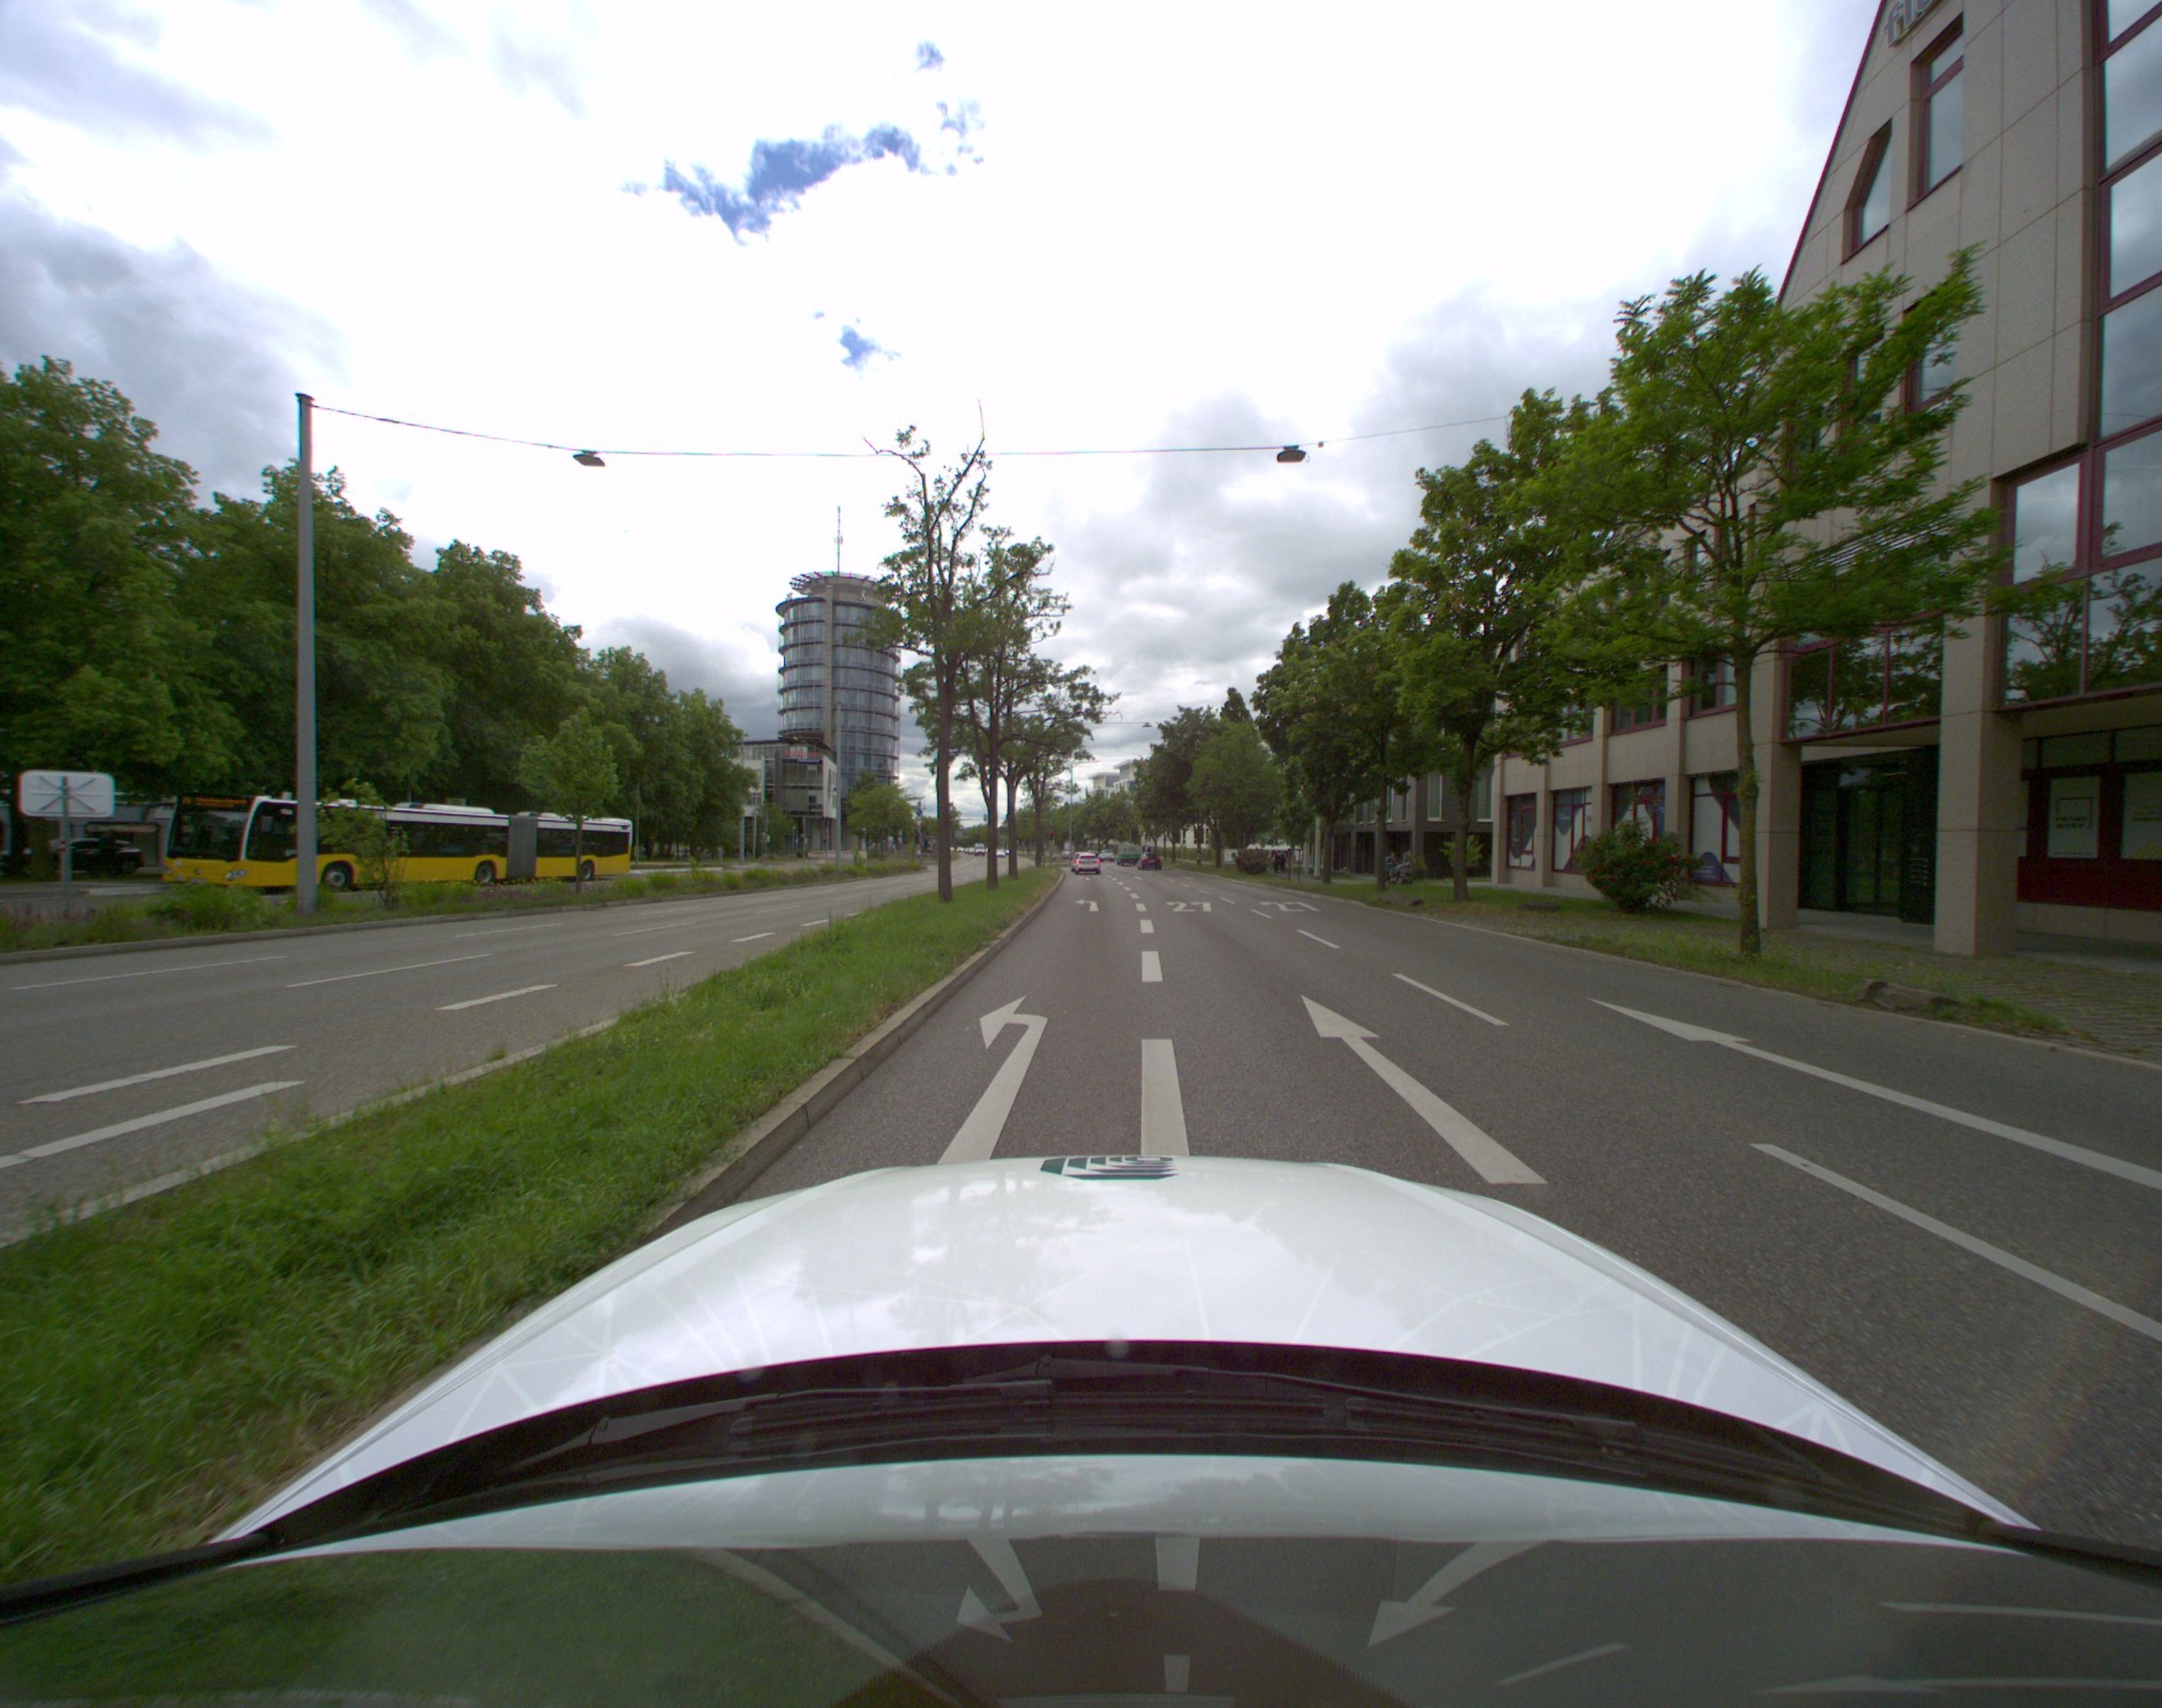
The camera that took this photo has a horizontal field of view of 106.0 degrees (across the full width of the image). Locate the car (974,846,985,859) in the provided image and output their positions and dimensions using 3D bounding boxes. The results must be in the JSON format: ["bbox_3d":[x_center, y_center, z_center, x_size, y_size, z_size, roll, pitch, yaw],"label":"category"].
[{"bbox_3d":[-21.479,-0.251,172.270,1.989,2.634,5.867,2,0,-4],"label":"car"}]

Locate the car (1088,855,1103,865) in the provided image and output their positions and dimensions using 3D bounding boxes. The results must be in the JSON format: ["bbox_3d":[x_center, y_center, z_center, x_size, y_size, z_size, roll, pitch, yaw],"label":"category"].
[{"bbox_3d":[2.152,0.904,122.508,1.989,1.491,3.995,1,0,-3],"label":"car"}]

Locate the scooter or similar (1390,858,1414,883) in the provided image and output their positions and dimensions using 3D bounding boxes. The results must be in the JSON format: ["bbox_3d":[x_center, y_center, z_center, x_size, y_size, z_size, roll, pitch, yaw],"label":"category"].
[{"bbox_3d":[13.292,0.689,33.715,0.582,0.994,0.845,-1,-1,-4],"label":"scooter or similar"}]

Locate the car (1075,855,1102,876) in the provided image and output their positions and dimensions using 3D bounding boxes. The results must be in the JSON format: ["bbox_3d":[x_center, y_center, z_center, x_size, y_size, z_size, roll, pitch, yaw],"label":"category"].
[{"bbox_3d":[0.601,0.827,59.363,1.856,1.449,4.001,0,-1,1],"label":"car"}]

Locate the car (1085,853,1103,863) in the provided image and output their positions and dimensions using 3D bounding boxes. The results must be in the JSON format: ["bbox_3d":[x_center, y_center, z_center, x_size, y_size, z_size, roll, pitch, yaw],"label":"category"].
[{"bbox_3d":[1.882,0.585,119.332,1.992,1.508,3.990,0,0,-8],"label":"car"}]

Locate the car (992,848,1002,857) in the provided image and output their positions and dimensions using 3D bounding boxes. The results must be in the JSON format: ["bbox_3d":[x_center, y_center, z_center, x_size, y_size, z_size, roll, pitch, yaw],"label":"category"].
[{"bbox_3d":[-18.395,-0.391,177.706,1.931,1.918,4.966,0,-1,-4],"label":"car"}]

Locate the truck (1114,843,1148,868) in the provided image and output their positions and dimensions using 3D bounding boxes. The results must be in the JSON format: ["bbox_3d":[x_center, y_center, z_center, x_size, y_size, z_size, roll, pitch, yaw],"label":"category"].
[{"bbox_3d":[5.209,0.171,86.080,2.854,2.519,6.278,0,-1,-4],"label":"truck"}]

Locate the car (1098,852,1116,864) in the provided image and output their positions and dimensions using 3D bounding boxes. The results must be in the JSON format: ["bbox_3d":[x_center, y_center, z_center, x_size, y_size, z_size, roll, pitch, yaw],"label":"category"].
[{"bbox_3d":[3.327,0.526,106.480,1.989,1.508,3.995,0,0,-3],"label":"car"}]

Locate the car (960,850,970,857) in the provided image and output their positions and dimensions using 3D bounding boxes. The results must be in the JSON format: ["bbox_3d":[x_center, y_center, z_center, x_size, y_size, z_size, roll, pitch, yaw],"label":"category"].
[{"bbox_3d":[-29.906,-0.106,210.034,1.989,1.853,4.318,2,0,-4],"label":"car"}]

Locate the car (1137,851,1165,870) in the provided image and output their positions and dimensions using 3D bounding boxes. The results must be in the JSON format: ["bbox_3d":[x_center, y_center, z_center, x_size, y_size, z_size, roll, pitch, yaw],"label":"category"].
[{"bbox_3d":[5.986,0.545,70.056,1.988,1.596,3.997,0,0,-2],"label":"car"}]

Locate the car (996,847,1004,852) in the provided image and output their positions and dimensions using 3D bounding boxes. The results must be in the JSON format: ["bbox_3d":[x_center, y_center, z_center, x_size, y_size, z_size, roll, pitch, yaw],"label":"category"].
[{"bbox_3d":[-23.927,-1.313,241.947,1.988,1.618,3.998,2,0,-1],"label":"car"}]

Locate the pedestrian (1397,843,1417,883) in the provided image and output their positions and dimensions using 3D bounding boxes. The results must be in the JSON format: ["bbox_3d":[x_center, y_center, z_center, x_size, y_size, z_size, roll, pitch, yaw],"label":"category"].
[{"bbox_3d":[13.920,0.383,34.820,0.565,1.700,0.830,0,-1,4],"label":"pedestrian"}]

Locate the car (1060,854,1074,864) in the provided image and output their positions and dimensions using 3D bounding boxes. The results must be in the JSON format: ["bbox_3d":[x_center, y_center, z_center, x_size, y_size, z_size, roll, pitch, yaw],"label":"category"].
[{"bbox_3d":[-2.228,0.733,126.769,1.989,1.491,3.995,1,0,-3],"label":"car"}]

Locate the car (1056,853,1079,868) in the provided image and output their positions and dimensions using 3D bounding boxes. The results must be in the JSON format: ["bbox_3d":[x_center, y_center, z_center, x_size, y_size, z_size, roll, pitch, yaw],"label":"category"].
[{"bbox_3d":[-1.427,0.659,85.875,1.984,1.508,4.005,0,-1,5],"label":"car"}]

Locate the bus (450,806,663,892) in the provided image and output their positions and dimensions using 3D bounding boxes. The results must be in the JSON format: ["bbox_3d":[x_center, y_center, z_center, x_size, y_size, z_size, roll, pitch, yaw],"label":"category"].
[{"bbox_3d":[-24.145,-0.191,38.491,3.018,3.455,9.921,2,0,4],"label":"bus"}]

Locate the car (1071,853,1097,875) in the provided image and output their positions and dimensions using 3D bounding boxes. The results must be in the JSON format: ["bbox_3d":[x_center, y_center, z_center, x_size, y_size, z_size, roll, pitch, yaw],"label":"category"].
[{"bbox_3d":[0.243,0.822,66.482,1.987,1.672,3.999,0,-1,0],"label":"car"}]

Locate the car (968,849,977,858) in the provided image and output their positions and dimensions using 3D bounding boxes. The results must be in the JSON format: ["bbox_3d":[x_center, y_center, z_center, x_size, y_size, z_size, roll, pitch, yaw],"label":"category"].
[{"bbox_3d":[-25.910,-0.056,194.560,1.989,2.011,4.318,2,0,-4],"label":"car"}]

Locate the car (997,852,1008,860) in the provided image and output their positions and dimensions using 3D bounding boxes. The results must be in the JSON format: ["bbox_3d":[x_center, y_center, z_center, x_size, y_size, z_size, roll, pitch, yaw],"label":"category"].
[{"bbox_3d":[-14.608,0.327,151.887,1.749,1.444,4.129,2,0,-4],"label":"car"}]

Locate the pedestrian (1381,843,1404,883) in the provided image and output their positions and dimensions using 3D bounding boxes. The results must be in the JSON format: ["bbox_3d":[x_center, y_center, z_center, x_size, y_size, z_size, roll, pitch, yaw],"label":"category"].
[{"bbox_3d":[13.234,0.378,34.634,0.554,1.653,0.960,-1,-1,-4],"label":"pedestrian"}]

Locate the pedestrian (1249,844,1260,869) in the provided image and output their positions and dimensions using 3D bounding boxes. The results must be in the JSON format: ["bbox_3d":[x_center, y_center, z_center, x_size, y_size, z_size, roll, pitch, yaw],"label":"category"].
[{"bbox_3d":[12.644,0.155,59.419,0.606,1.775,0.953,0,2,-1],"label":"pedestrian"}]

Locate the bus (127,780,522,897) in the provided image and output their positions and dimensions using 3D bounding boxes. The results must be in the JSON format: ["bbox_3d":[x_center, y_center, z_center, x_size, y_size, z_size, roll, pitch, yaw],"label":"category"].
[{"bbox_3d":[-24.841,-0.412,28.118,3.071,3.163,10.745,2,0,3],"label":"bus"}]

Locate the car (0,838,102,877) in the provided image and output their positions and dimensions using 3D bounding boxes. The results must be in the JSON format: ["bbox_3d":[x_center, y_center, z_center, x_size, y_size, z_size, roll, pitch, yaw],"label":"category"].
[{"bbox_3d":[-45.157,0.142,34.538,1.985,1.581,4.252,0,0,4],"label":"car"}]
